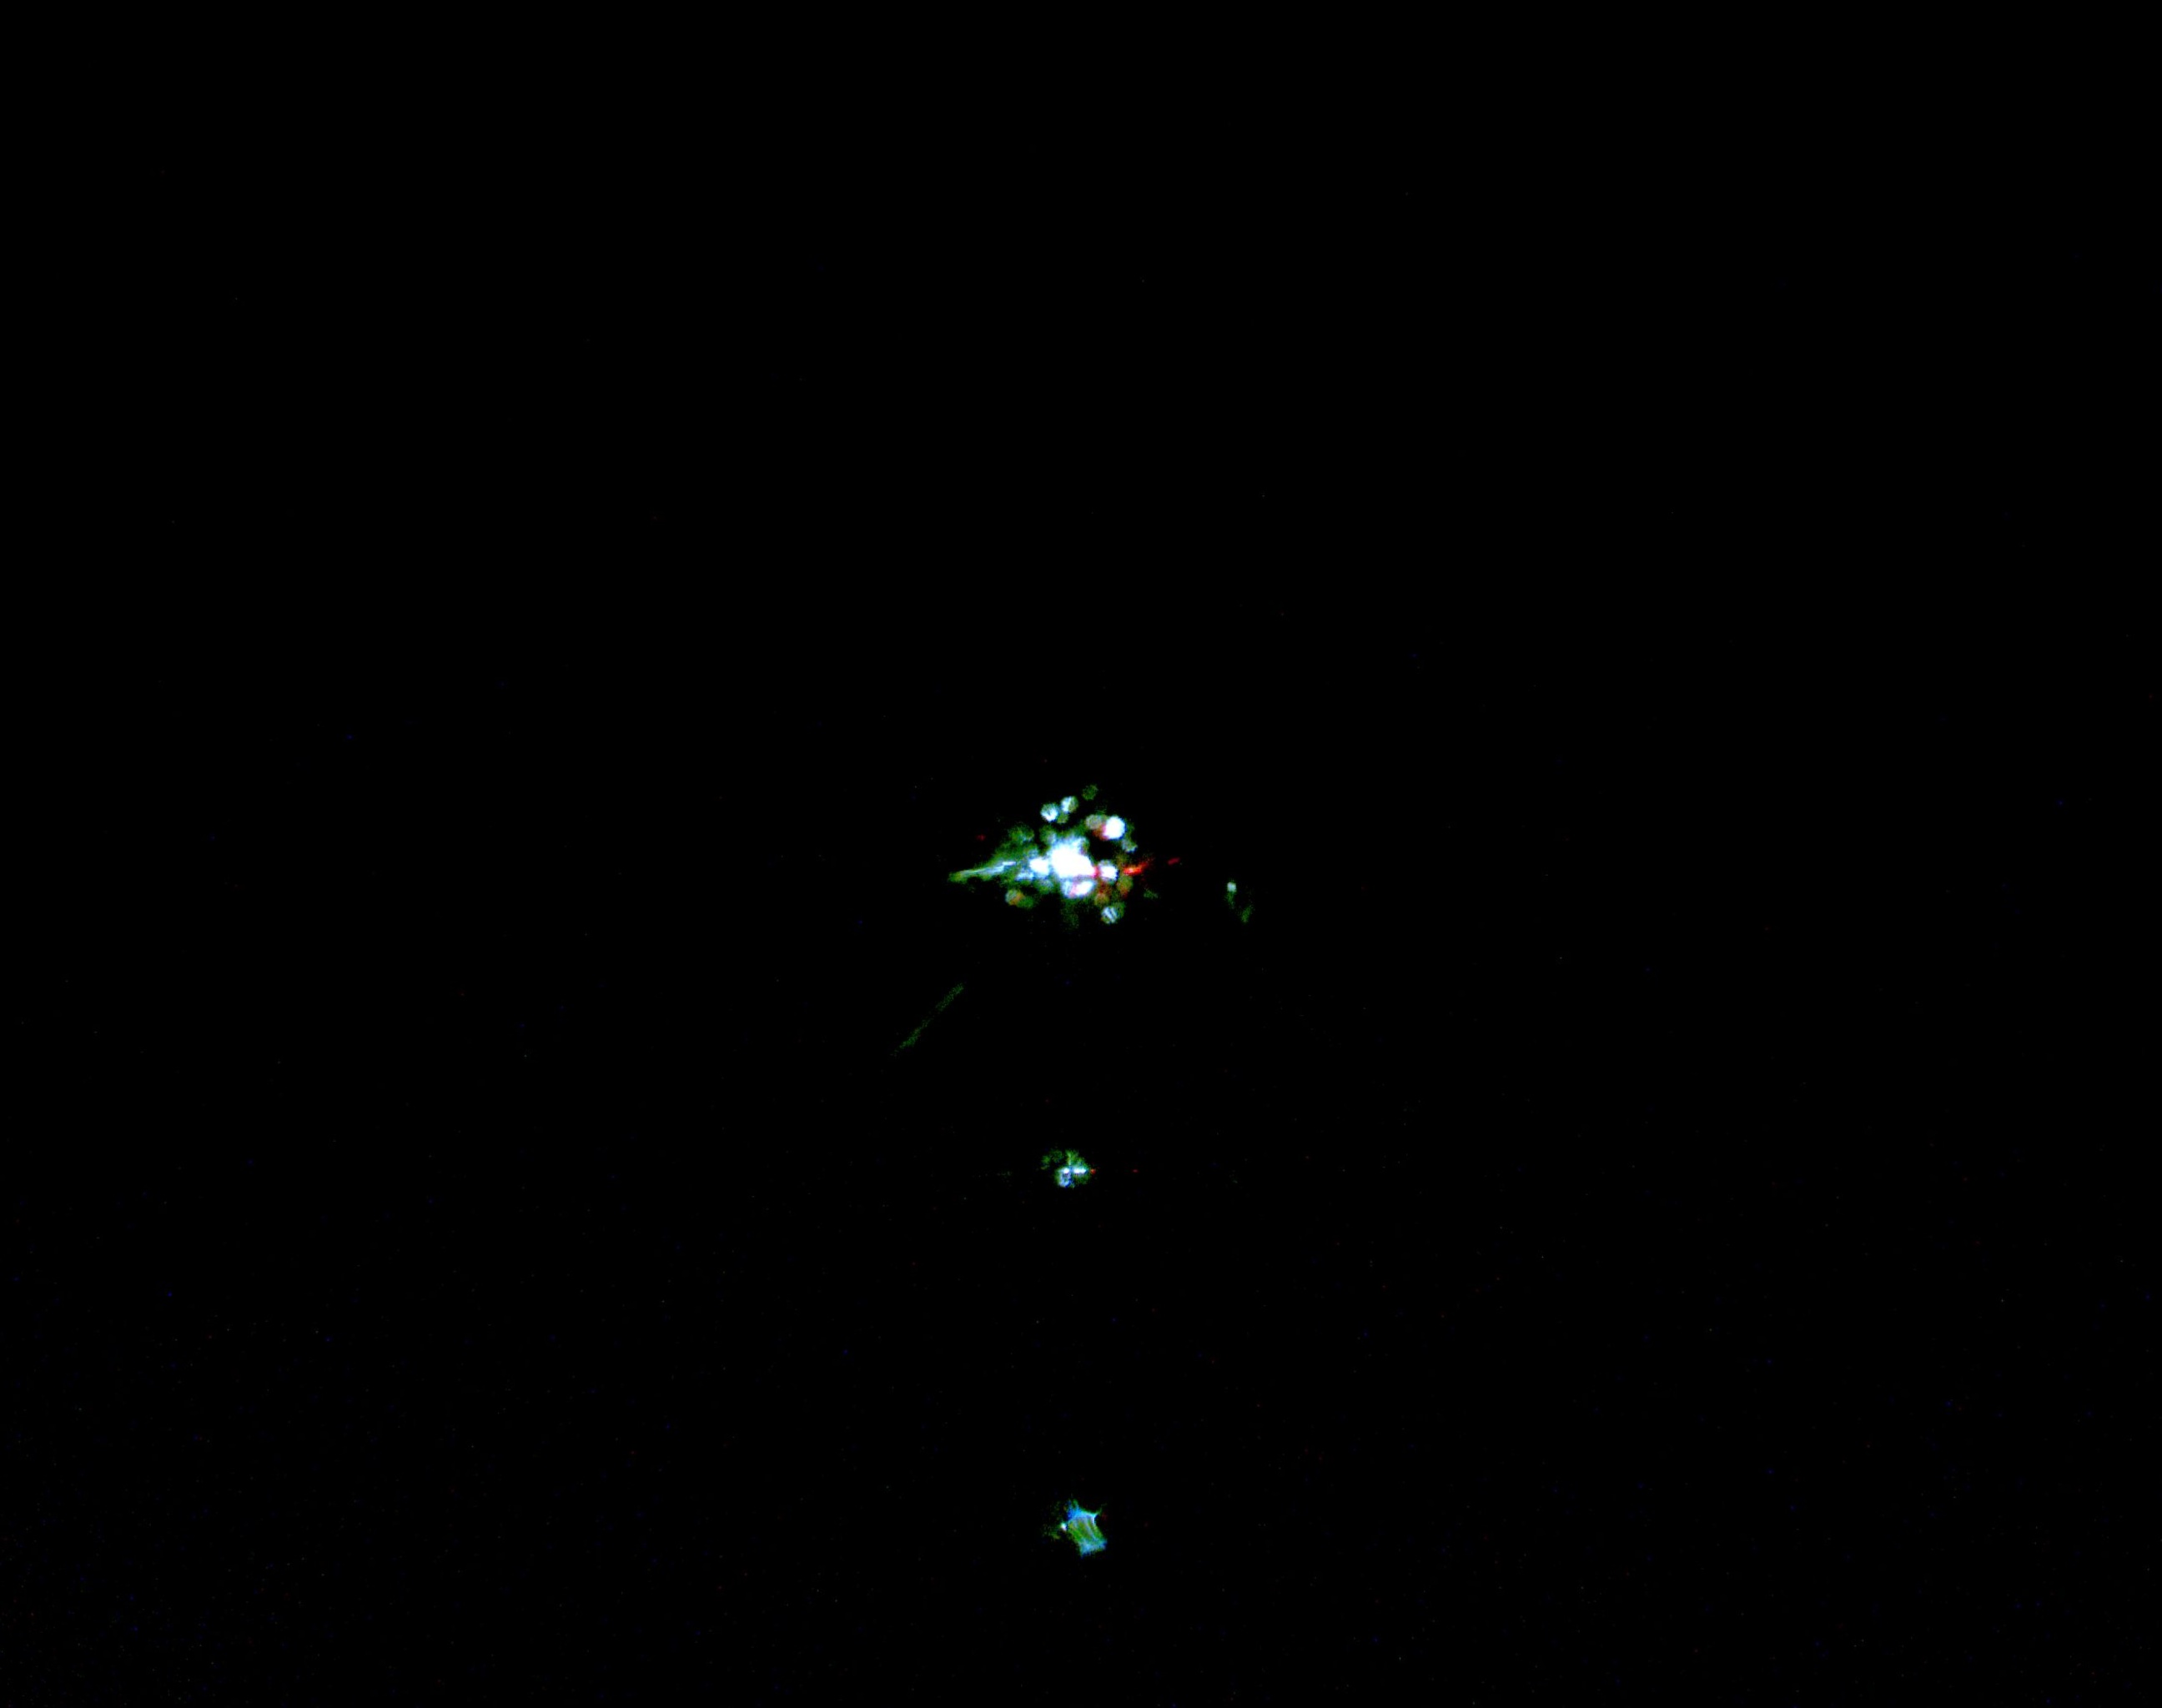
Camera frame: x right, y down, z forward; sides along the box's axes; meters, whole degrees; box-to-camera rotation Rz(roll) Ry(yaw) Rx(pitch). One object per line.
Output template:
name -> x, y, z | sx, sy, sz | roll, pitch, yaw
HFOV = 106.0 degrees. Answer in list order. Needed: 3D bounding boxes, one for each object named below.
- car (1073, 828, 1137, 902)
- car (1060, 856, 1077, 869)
car -> 0.874, 0.321, 30.566 | 2.173, 2.557, 4.509 | 1, 2, 1
car -> -1.580, 1.068, 102.808 | 1.968, 1.516, 4.347 | -1, 0, 1
